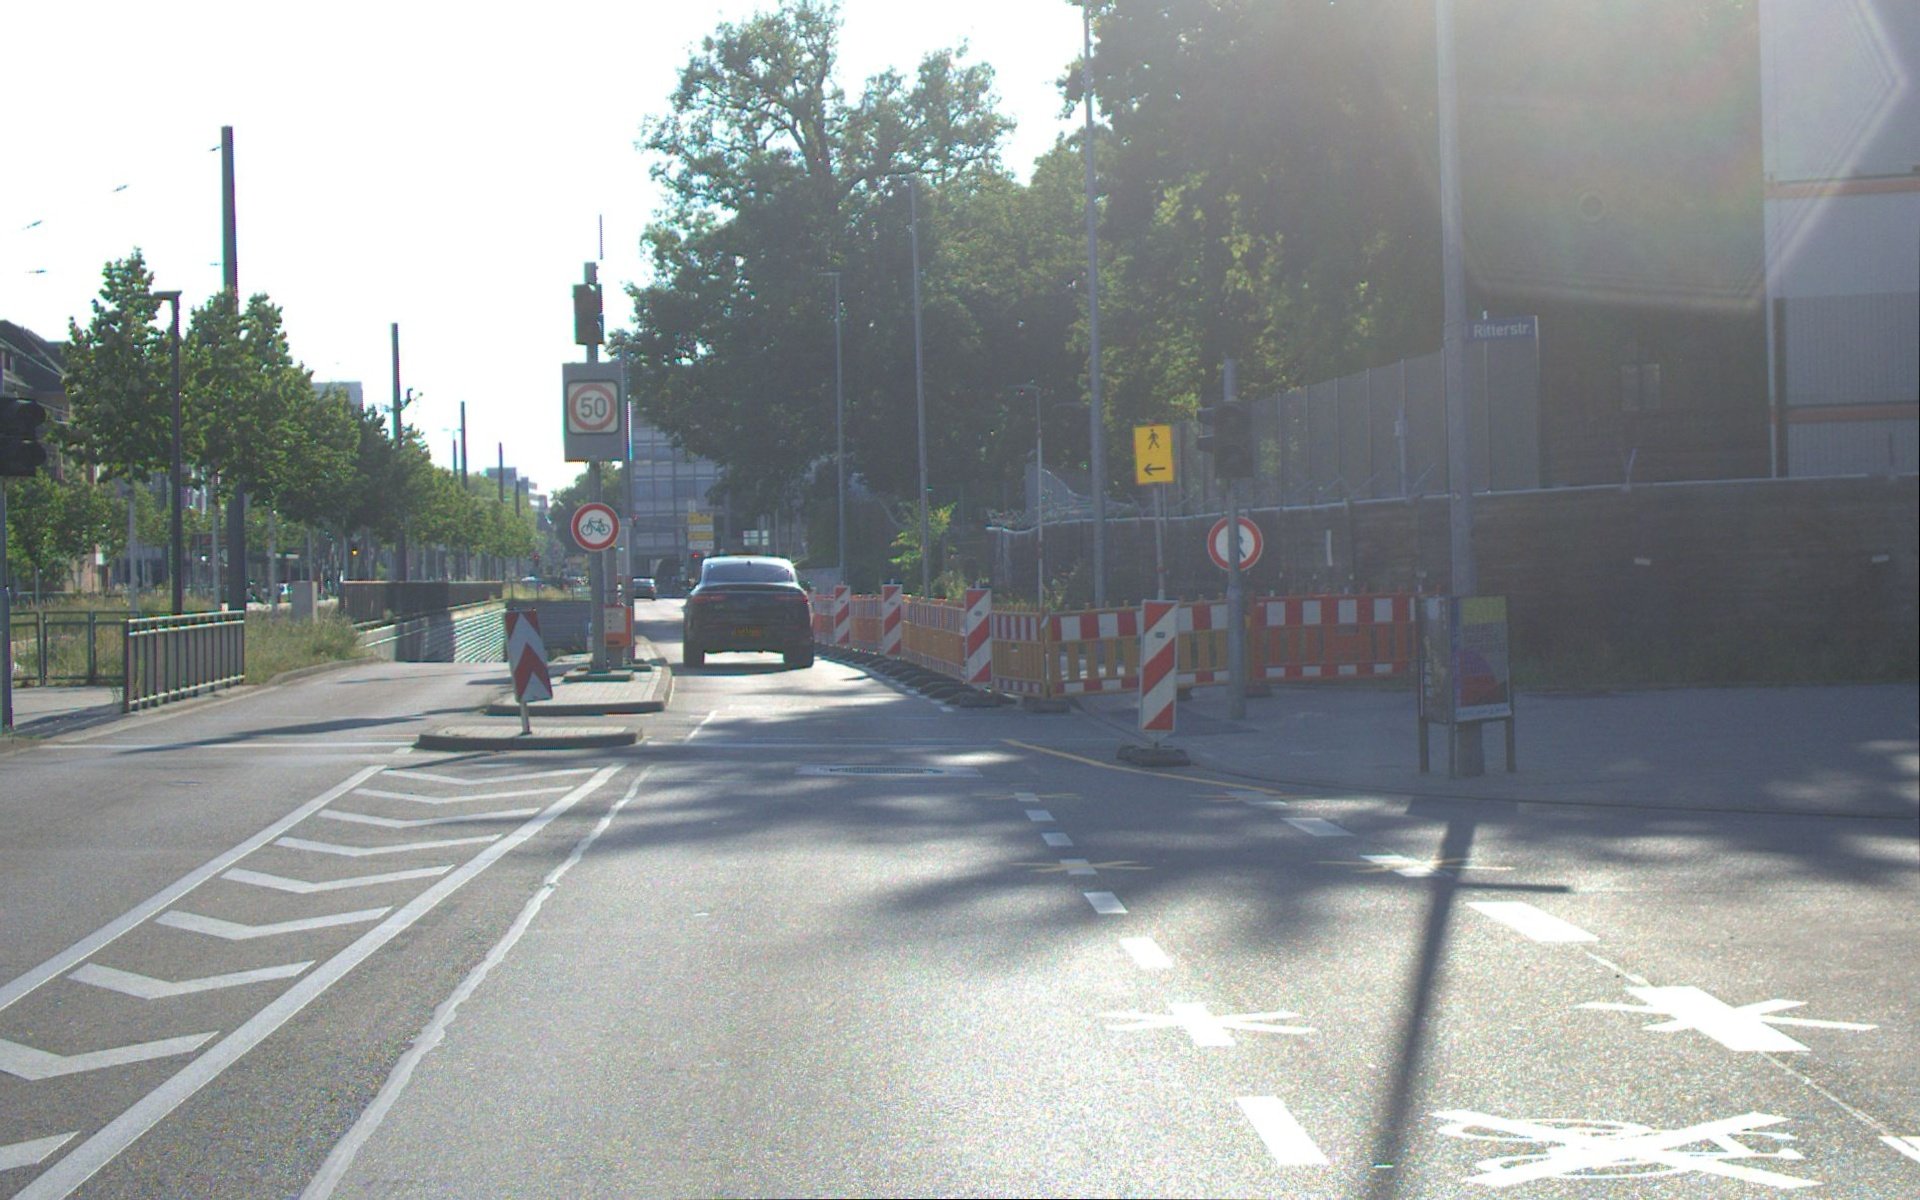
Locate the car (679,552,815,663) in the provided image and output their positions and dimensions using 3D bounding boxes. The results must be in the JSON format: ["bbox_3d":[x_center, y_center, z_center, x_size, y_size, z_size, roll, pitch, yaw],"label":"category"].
[{"bbox_3d":[-3.391,0.116,54.210,2.005,1.653,4.001,1,0,-5],"label":"car"}]
